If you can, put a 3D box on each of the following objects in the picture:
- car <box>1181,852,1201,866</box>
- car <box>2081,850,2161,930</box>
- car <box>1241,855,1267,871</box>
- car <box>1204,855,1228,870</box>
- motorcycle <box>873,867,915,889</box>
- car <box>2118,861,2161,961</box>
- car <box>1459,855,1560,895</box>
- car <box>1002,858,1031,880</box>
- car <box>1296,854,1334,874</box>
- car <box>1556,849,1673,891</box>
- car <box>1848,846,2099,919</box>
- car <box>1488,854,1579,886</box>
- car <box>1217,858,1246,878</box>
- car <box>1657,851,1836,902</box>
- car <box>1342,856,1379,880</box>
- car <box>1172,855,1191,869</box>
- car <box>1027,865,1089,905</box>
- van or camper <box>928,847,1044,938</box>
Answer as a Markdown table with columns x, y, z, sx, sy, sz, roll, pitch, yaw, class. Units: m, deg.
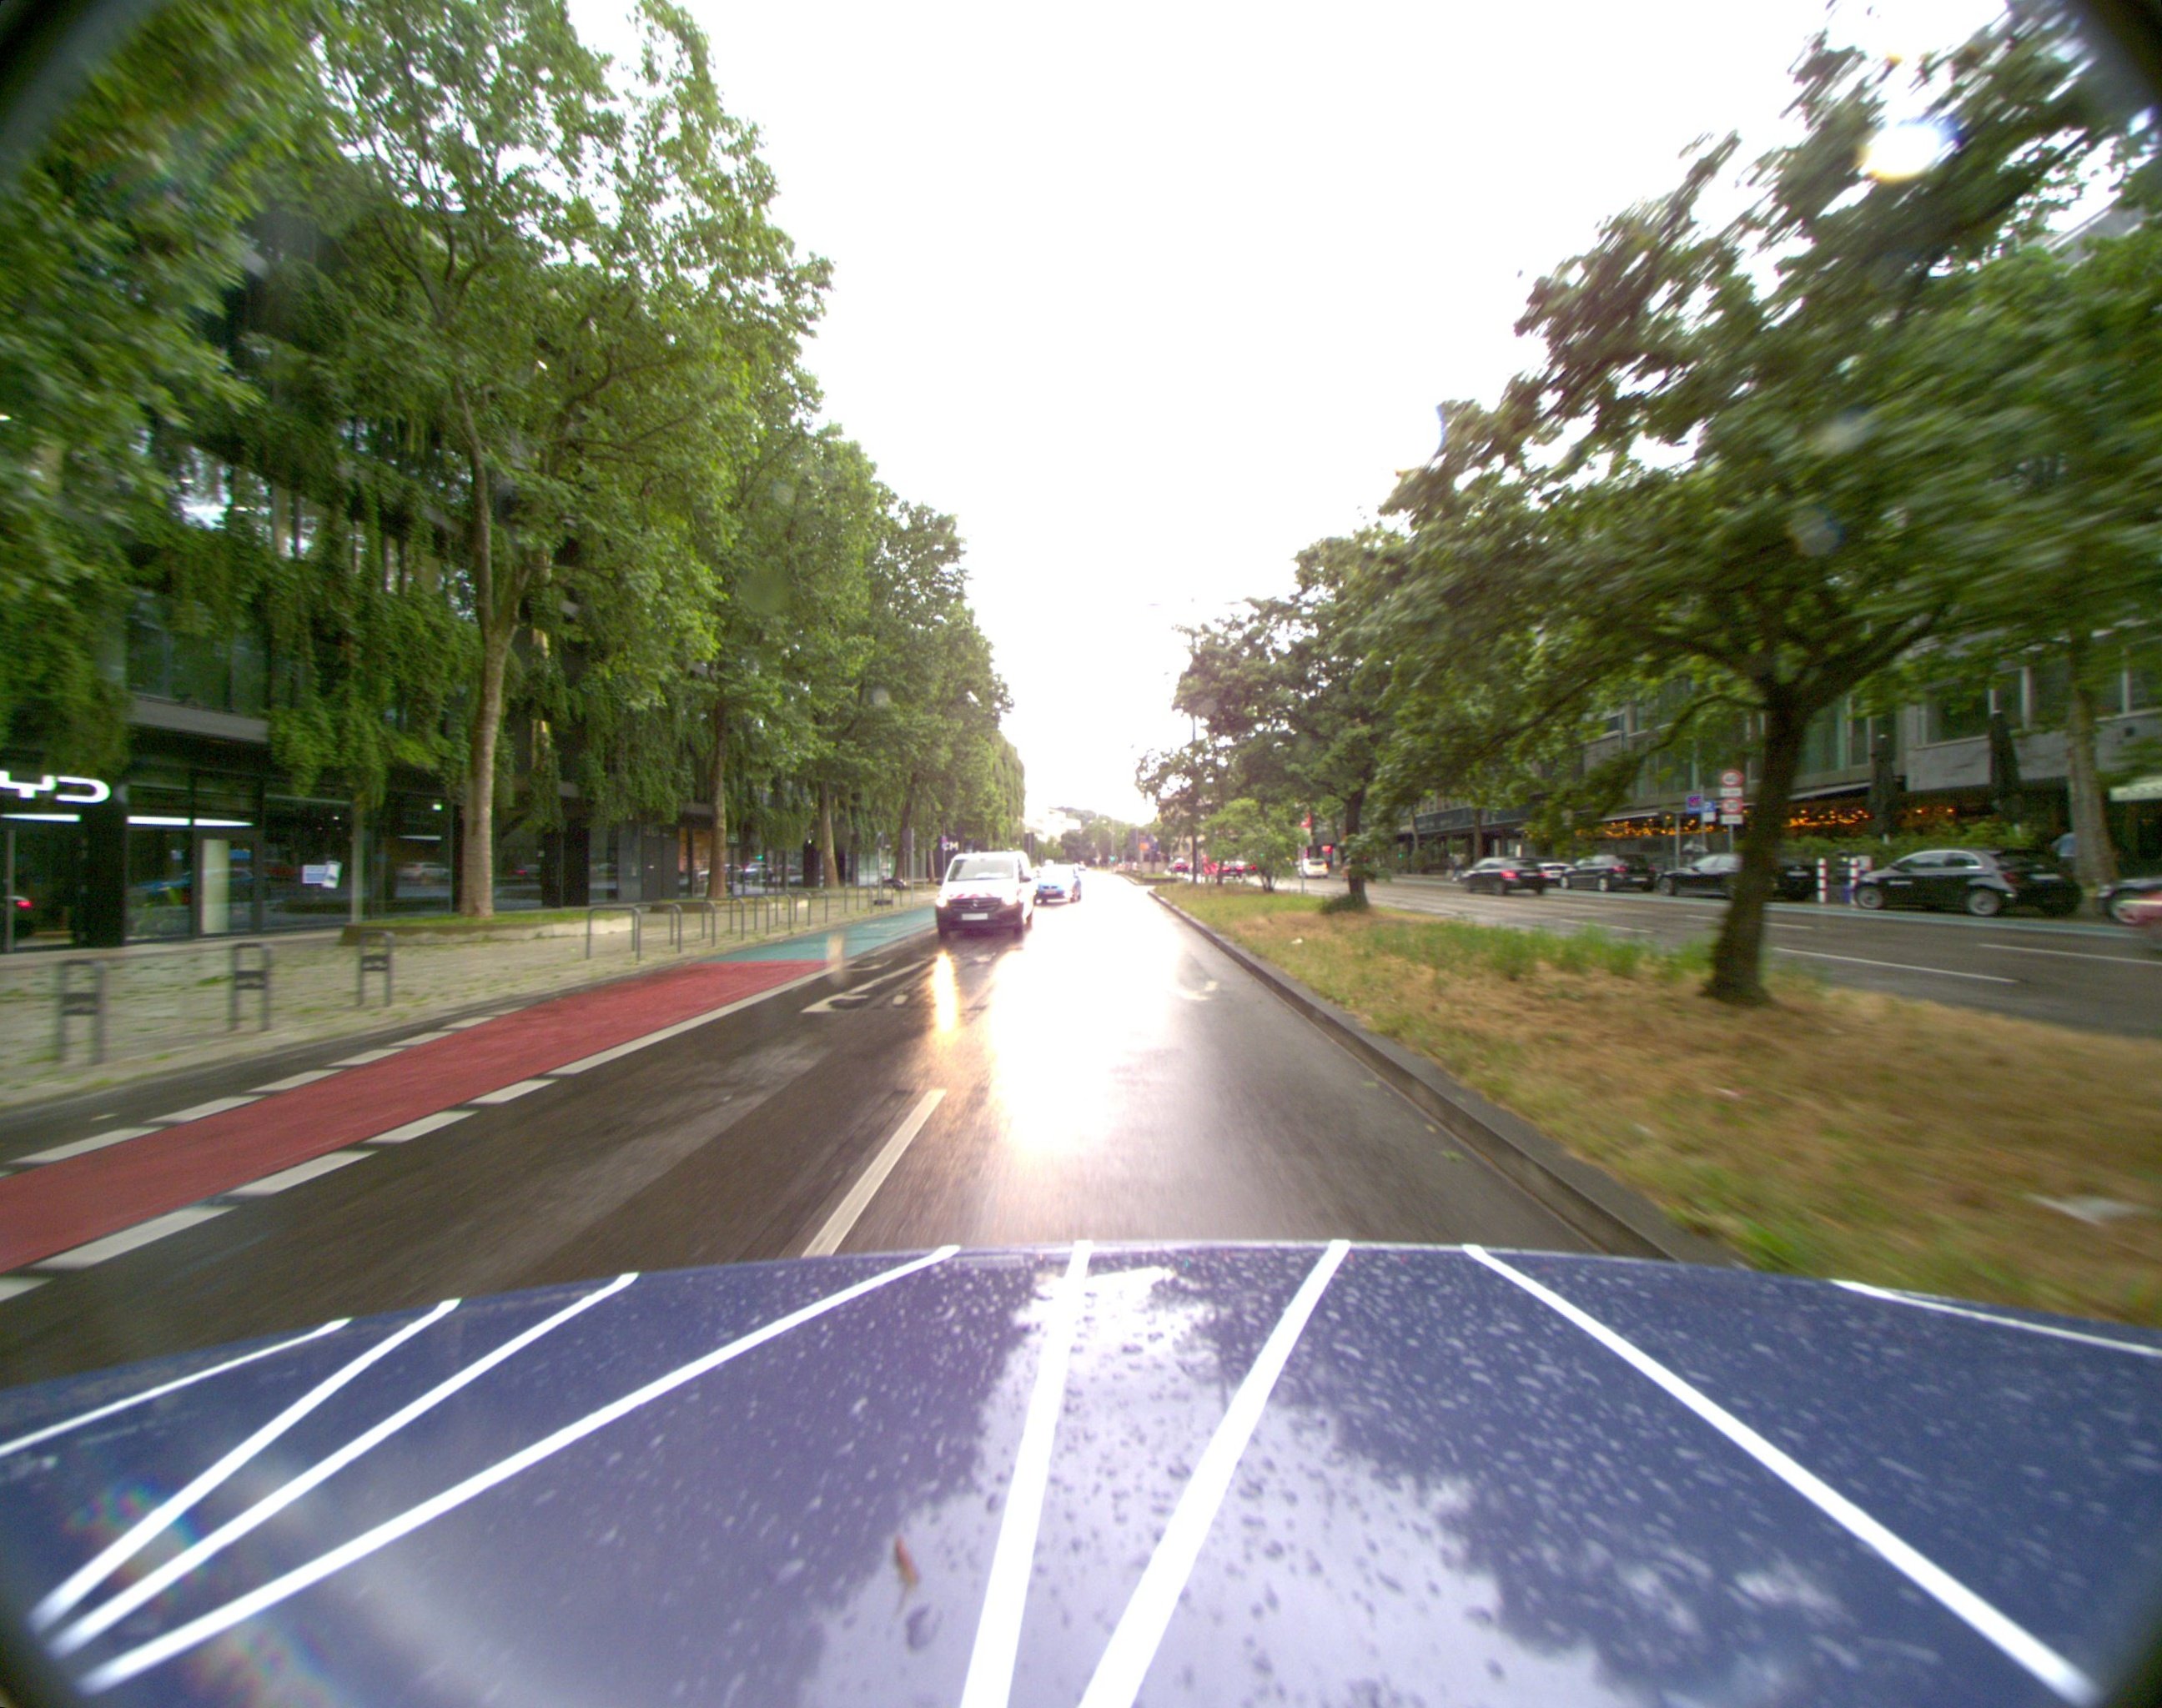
| x | y | z | sx | sy | sz | roll | pitch | yaw | class |
| --- | --- | --- | --- | --- | --- | --- | --- | --- | --- |
| 12.561 | 0.612 | 86.635 | 1.739 | 1.564 | 4.833 | -1 | -1 | 2 | car |
| 19.968 | 0.611 | 12.104 | 1.697 | 1.400 | 4.905 | -1 | -1 | 2 | car |
| 16.838 | 0.886 | 74.081 | 1.753 | 1.467 | 4.096 | -1 | 0 | 2 | car |
| 13.226 | 0.824 | 74.774 | 1.754 | 1.467 | 4.096 | -1 | 0 | 2 | car |
| -11.667 | 1.463 | 47.438 | 2.313 | 1.263 | 1.053 | -2 | 0 | 1 | motorcycle |
| 15.827 | 0.757 | 8.932 | 1.618 | 1.385 | 4.185 | -1 | -1 | 2 | car |
| 16.381 | 0.786 | 29.305 | 1.847 | 1.381 | 4.002 | -1 | -1 | 4 | car |
| -5.800 | 1.337 | 68.636 | 1.847 | 1.827 | 5.096 | 0 | -1 | 4 | car |
| 17.911 | 0.753 | 58.327 | 1.848 | 1.420 | 3.644 | -1 | -1 | 2 | car |
| 20.686 | 0.617 | 29.681 | 1.841 | 1.499 | 4.001 | -1 | -1 | 2 | car |
| 20.088 | 0.612 | 17.355 | 1.697 | 1.459 | 3.460 | -1 | -1 | 2 | car |
| 20.869 | 0.717 | 35.276 | 1.563 | 1.345 | 4.684 | -2 | -1 | 2 | car |
| 12.552 | 1.143 | 63.667 | 1.753 | 1.467 | 4.096 | -2 | 0 | 3 | car |
| 20.320 | 0.662 | 23.508 | 1.697 | 1.400 | 4.457 | -1 | -1 | 2 | car |
| 17.617 | 0.878 | 47.985 | 1.497 | 1.454 | 2.732 | -1 | 0 | 4 | car |
| 13.127 | 1.000 | 99.378 | 1.840 | 1.756 | 5.109 | -1 | -1 | 0 | car |
| -0.868 | 1.230 | 30.988 | 1.847 | 1.473 | 4.399 | -2 | -1 | 7 | car |
| -2.148 | 0.848 | 18.734 | 1.998 | 1.902 | 5.252 | -1 | -1 | 2 | van or camper |
